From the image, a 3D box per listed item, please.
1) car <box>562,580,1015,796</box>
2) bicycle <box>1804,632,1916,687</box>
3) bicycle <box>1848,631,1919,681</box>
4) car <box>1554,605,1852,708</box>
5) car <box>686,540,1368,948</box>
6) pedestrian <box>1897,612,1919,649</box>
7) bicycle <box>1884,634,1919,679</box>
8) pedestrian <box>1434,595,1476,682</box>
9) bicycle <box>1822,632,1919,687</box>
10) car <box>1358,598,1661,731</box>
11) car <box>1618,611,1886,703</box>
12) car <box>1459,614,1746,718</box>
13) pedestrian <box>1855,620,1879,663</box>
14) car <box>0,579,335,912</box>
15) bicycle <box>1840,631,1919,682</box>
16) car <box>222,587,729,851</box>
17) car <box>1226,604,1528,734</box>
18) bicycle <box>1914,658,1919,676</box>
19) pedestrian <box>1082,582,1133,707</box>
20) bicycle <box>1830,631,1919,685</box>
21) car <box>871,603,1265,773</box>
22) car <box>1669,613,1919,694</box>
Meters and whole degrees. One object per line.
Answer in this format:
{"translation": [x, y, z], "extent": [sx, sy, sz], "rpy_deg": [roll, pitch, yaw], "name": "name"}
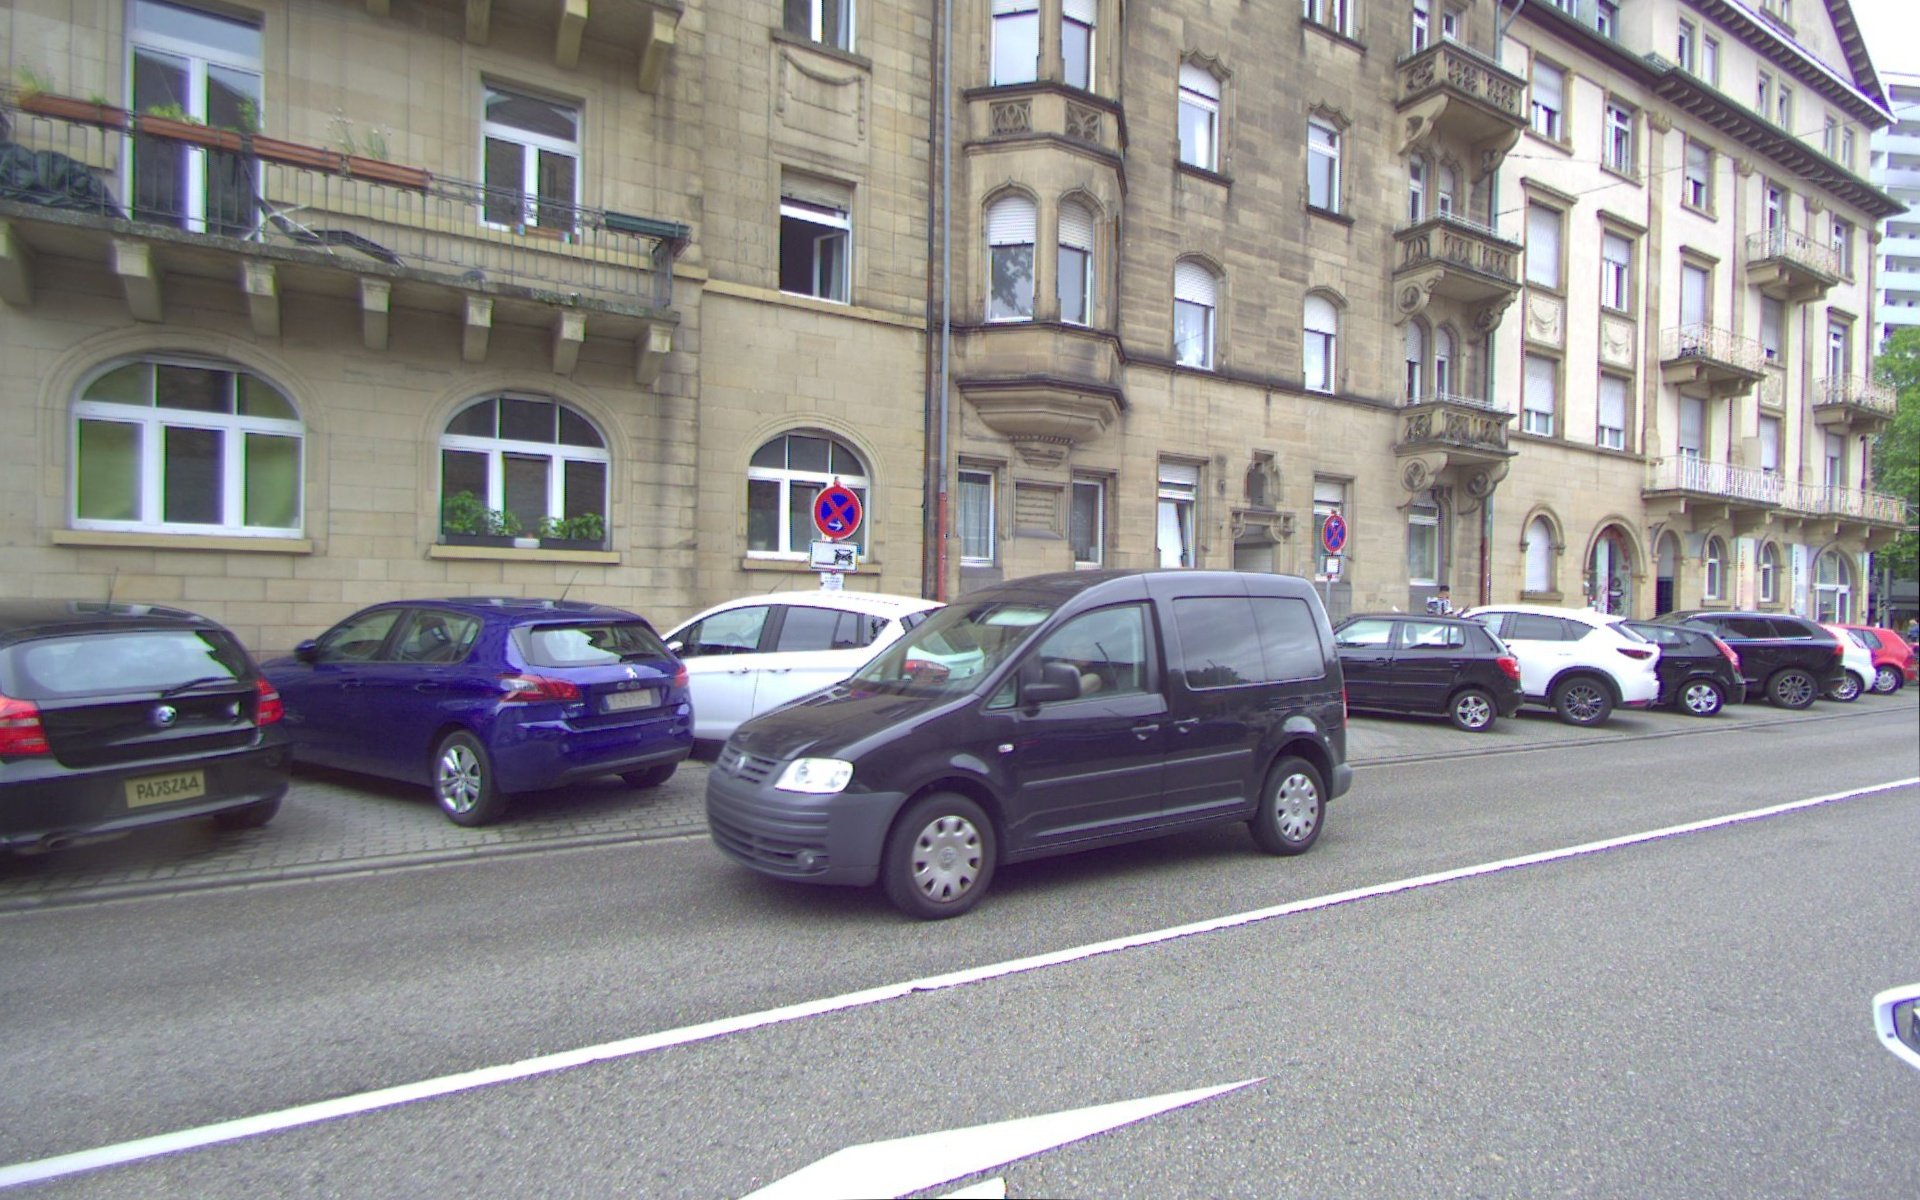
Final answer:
{"translation": [-1.630, 0.685, 9.581], "extent": [3.922, 1.575, 1.702], "rpy_deg": [3, 2, 22], "name": "car"}
{"translation": [21.313, 1.396, 23.831], "extent": [0.436, 1.050, 1.879], "rpy_deg": [1, 4, -26], "name": "bicycle"}
{"translation": [23.576, 1.427, 25.148], "extent": [0.437, 1.050, 1.876], "rpy_deg": [0, 6, -31], "name": "bicycle"}
{"translation": [13.850, 0.998, 19.014], "extent": [4.141, 1.674, 1.732], "rpy_deg": [2, 0, 18], "name": "car"}
{"translation": [0.552, 0.685, 6.315], "extent": [4.083, 1.827, 1.684], "rpy_deg": [1, -1, -32], "name": "car"}
{"translation": [47.645, 1.525, 50.443], "extent": [0.718, 1.795, 0.671], "rpy_deg": [1, 0, -30], "name": "pedestrian"}
{"translation": [24.312, 1.477, 24.932], "extent": [0.437, 1.050, 1.876], "rpy_deg": [0, 6, -31], "name": "bicycle"}
{"translation": [10.474, 0.808, 21.249], "extent": [0.544, 1.809, 0.564], "rpy_deg": [1, 0, -29], "name": "pedestrian"}
{"translation": [22.050, 1.414, 24.164], "extent": [0.437, 1.050, 1.876], "rpy_deg": [0, 6, -31], "name": "bicycle"}
{"translation": [8.535, 0.899, 15.705], "extent": [3.935, 1.746, 1.835], "rpy_deg": [2, 0, 36], "name": "car"}
{"translation": [15.991, 1.103, 20.509], "extent": [3.920, 1.492, 1.564], "rpy_deg": [3, 2, 18], "name": "car"}
{"translation": [10.931, 1.071, 17.449], "extent": [3.923, 1.514, 1.731], "rpy_deg": [2, 0, 23], "name": "car"}
{"translation": [43.332, 1.967, 47.969], "extent": [0.609, 2.040, 0.623], "rpy_deg": [2, 0, -25], "name": "pedestrian"}
{"translation": [-5.982, 0.668, 6.347], "extent": [3.927, 1.457, 1.730], "rpy_deg": [3, 2, 28], "name": "car"}
{"translation": [23.053, 1.398, 24.795], "extent": [0.437, 1.050, 1.876], "rpy_deg": [0, 6, -31], "name": "bicycle"}
{"translation": [-3.841, 0.713, 7.875], "extent": [3.682, 1.465, 1.820], "rpy_deg": [3, 2, 30], "name": "car"}
{"translation": [5.855, 0.906, 14.416], "extent": [3.738, 1.517, 1.569], "rpy_deg": [3, 1, 22], "name": "car"}
{"translation": [25.349, 1.798, 25.170], "extent": [1.017, 0.451, 1.876], "rpy_deg": [-1, 6, -31], "name": "bicycle"}
{"translation": [2.392, 0.707, 16.332], "extent": [0.544, 1.984, 0.616], "rpy_deg": [1, 0, -29], "name": "pedestrian"}
{"translation": [22.499, 1.406, 24.446], "extent": [0.437, 1.050, 1.876], "rpy_deg": [0, 6, -31], "name": "bicycle"}
{"translation": [1.167, 0.836, 10.986], "extent": [3.924, 1.436, 1.660], "rpy_deg": [2, 1, 25], "name": "car"}
{"translation": [18.305, 1.140, 22.181], "extent": [3.919, 1.492, 1.684], "rpy_deg": [2, 2, 12], "name": "car"}
